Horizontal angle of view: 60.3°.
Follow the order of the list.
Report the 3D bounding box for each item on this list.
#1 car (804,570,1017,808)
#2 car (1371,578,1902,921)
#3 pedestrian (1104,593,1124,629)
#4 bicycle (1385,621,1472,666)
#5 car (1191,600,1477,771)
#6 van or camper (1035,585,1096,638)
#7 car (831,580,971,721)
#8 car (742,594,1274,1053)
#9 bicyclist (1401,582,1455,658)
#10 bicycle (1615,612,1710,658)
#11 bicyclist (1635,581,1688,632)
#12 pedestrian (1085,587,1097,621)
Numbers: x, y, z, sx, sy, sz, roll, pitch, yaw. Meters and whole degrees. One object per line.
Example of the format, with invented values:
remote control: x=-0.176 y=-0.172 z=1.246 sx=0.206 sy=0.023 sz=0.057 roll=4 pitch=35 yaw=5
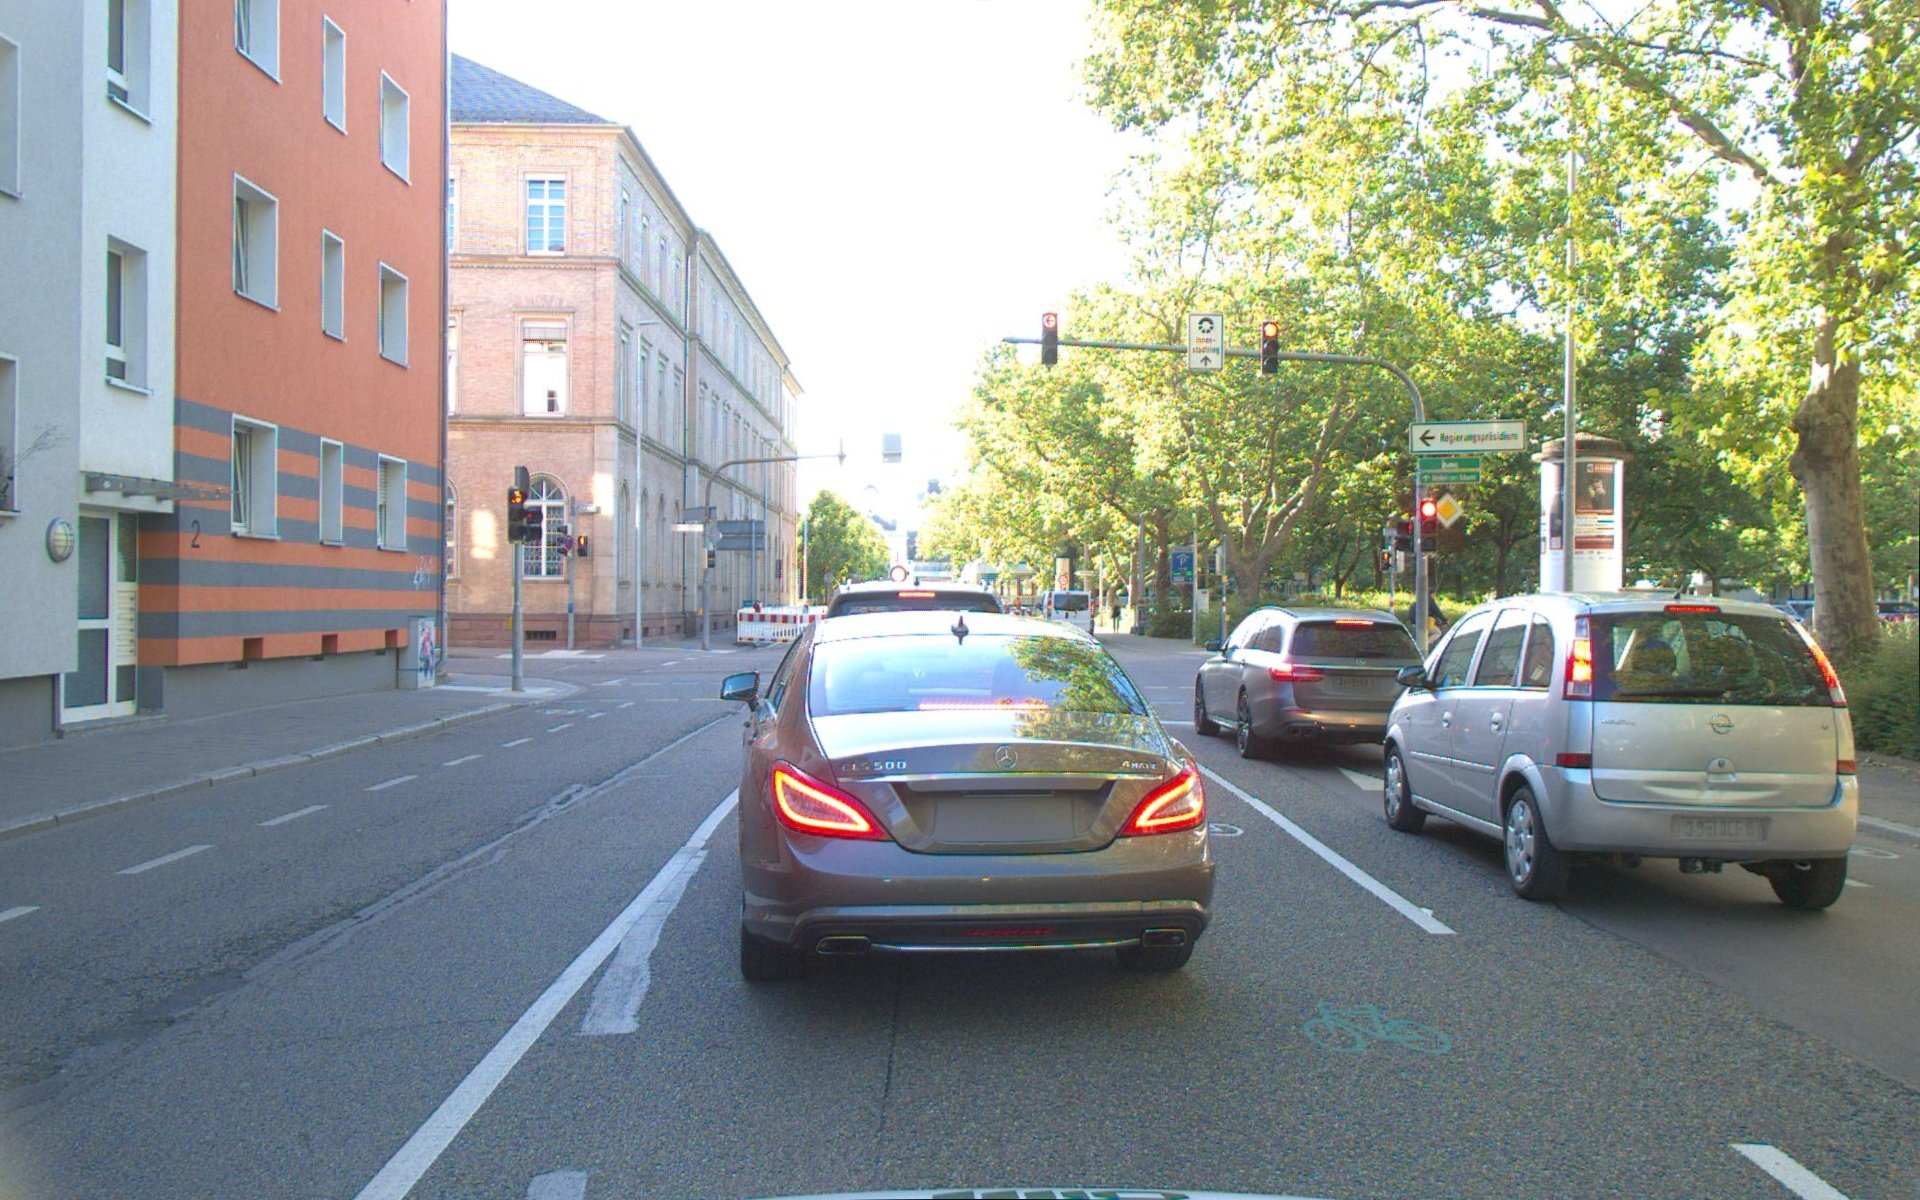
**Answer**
car: x=-0.444 y=0.628 z=13.695 sx=1.487 sy=1.675 sz=3.878 roll=1 pitch=0 yaw=-3
car: x=3.781 y=0.722 z=10.007 sx=1.666 sy=1.631 sz=3.860 roll=1 pitch=0 yaw=1
pedestrian: x=6.948 y=0.495 z=74.692 sx=0.813 sy=1.634 sz=0.651 roll=1 pitch=0 yaw=-1
bicycle: x=10.456 y=0.964 z=36.914 sx=1.760 sy=0.963 sz=0.613 roll=1 pitch=0 yaw=-7
car: x=3.754 y=0.785 z=17.480 sx=1.874 sy=1.490 sz=4.668 roll=2 pitch=0 yaw=-1
van or camper: x=4.075 y=0.423 z=64.610 sx=1.953 sy=1.975 sz=4.592 roll=0 pitch=0 yaw=-2
car: x=-0.783 y=0.642 z=23.213 sx=1.783 sy=1.793 sz=3.999 roll=0 pitch=0 yaw=-1
car: x=-0.103 y=0.722 z=7.638 sx=1.769 sy=1.482 sz=4.343 roll=0 pitch=0 yaw=-8
bicyclist: x=10.450 y=0.442 z=36.922 sx=0.995 sy=1.671 sz=0.607 roll=1 pitch=0 yaw=-7
bicycle: x=16.308 y=0.810 z=38.432 sx=1.940 sy=1.045 sz=0.651 roll=0 pitch=0 yaw=0
bicyclist: x=16.297 y=0.144 z=38.438 sx=0.971 sy=1.174 sz=0.620 roll=0 pitch=0 yaw=1
pedestrian: x=7.291 y=0.229 z=91.964 sx=0.591 sy=1.853 sz=0.651 roll=1 pitch=0 yaw=-1
